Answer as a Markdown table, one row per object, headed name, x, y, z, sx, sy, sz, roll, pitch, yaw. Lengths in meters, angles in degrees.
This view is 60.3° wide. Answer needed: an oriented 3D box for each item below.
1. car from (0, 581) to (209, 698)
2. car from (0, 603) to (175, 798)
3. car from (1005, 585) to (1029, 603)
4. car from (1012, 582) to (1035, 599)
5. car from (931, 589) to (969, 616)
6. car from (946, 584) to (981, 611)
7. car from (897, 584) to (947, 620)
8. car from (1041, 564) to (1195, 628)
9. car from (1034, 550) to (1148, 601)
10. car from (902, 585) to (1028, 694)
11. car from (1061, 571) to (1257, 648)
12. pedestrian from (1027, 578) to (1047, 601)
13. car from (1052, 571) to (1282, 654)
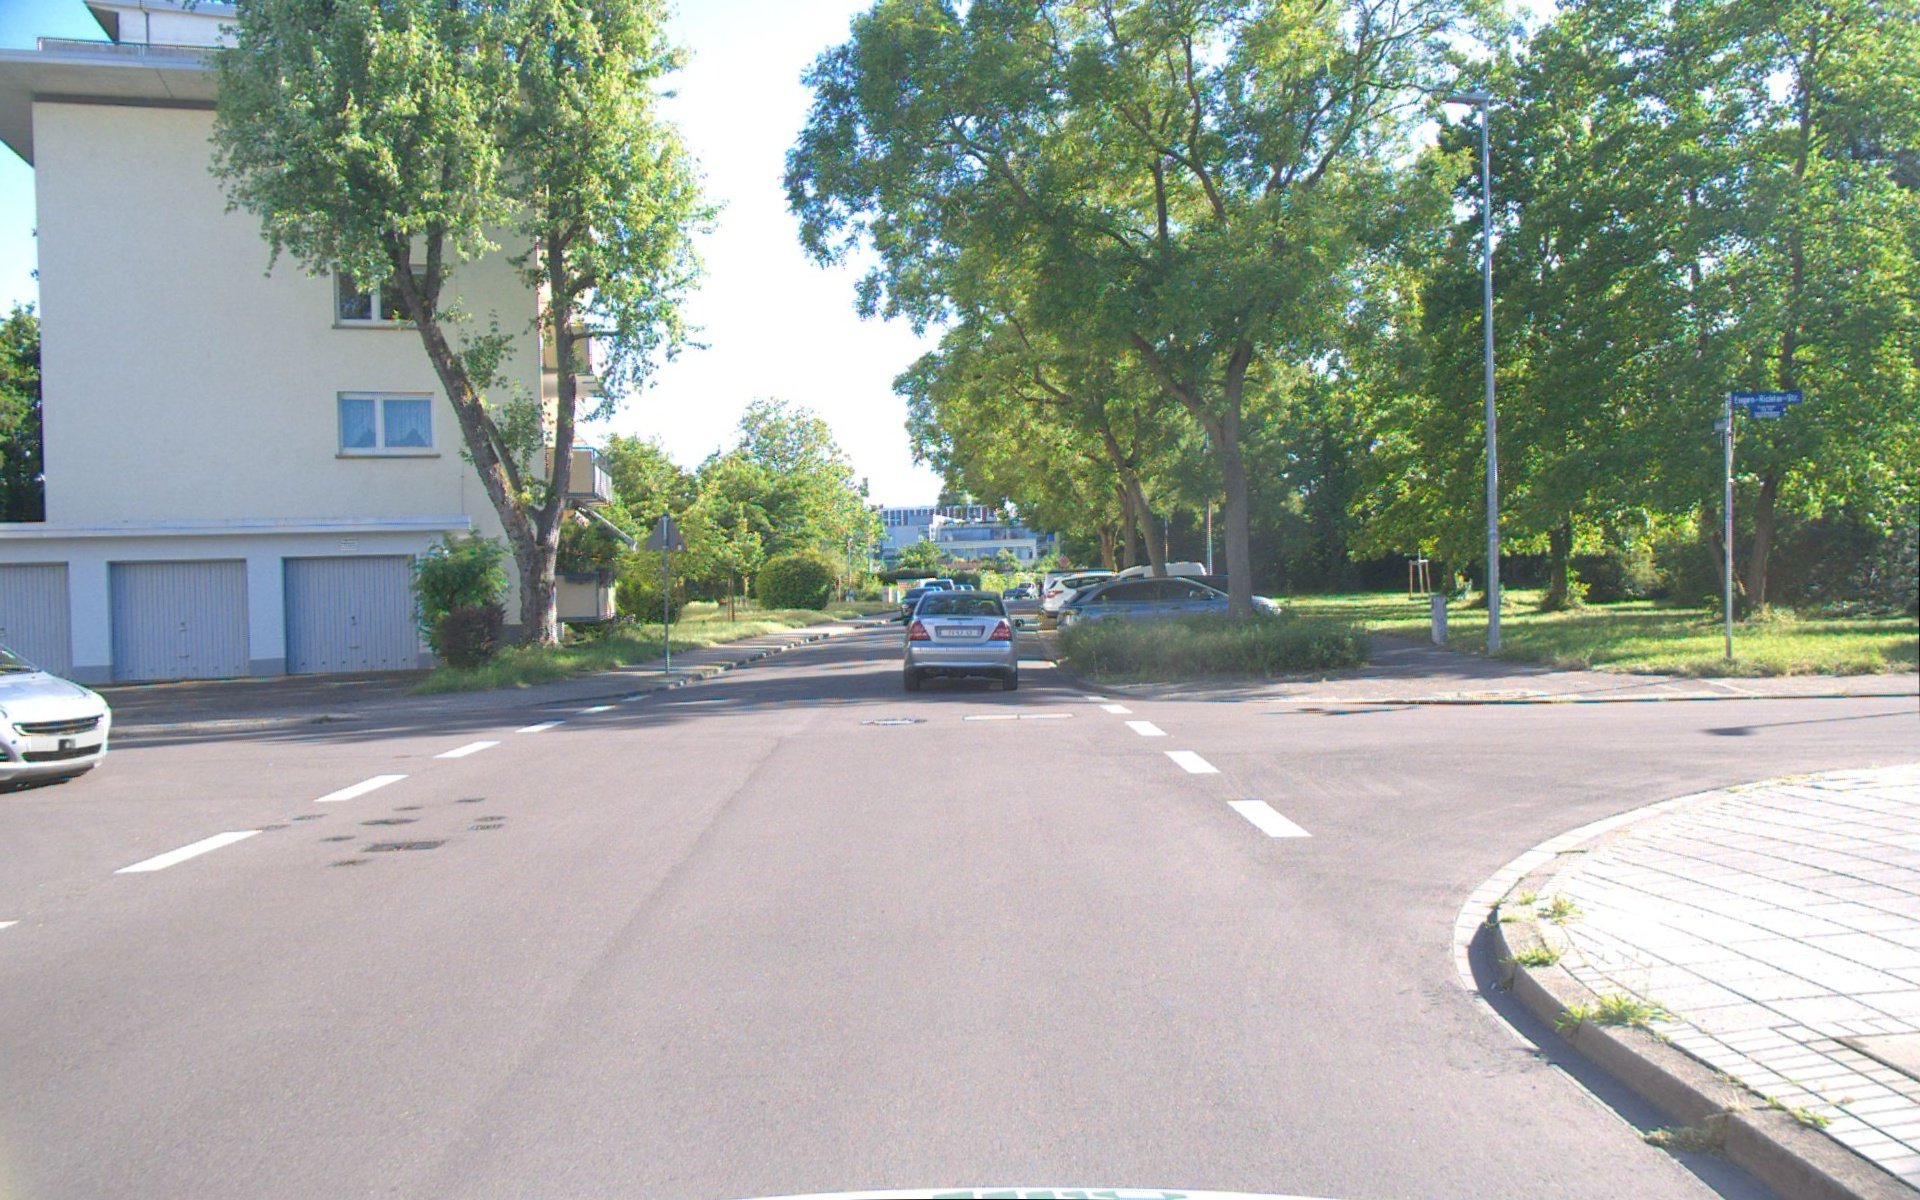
| name | x | y | z | sx | sy | sz | roll | pitch | yaw |
| --- | --- | --- | --- | --- | --- | --- | --- | --- | --- |
| car | -16.916 | 0.749 | 30.870 | 4.790 | 1.957 | 1.998 | -3 | 1 | -5 |
| car | -9.067 | 0.834 | 14.247 | 3.846 | 1.486 | 1.999 | -1 | 0 | 19 |
| car | 5.305 | -0.591 | 153.600 | 1.853 | 1.529 | 3.660 | -2 | 1 | 8 |
| car | 6.229 | -0.920 | 161.845 | 1.853 | 1.529 | 3.660 | -2 | 1 | 8 |
| car | -0.564 | 0.131 | 97.107 | 1.713 | 1.352 | 3.453 | -5 | 0 | 7 |
| car | 0.240 | -0.184 | 103.644 | 1.713 | 1.547 | 4.196 | -3 | 0 | 6 |
| car | -1.782 | 0.066 | 78.492 | 1.873 | 1.516 | 3.839 | -5 | 0 | 5 |
| car | 5.038 | -0.143 | 53.372 | 4.783 | 1.753 | 2.001 | -3 | 1 | 2 |
| car | 6.009 | -1.116 | 75.952 | 5.108 | 2.095 | 2.001 | -2 | 0 | 4 |
| car | 0.005 | 0.552 | 24.511 | 1.698 | 1.459 | 3.436 | -1 | 0 | -2 |
| car | 4.554 | 0.206 | 38.320 | 4.335 | 1.598 | 1.738 | -2 | 1 | 2 |
| pedestrian | 7.166 | -0.982 | 153.582 | 1.540 | 2.125 | 1.725 | -2 | 0 | 11 |
| car | 4.424 | 0.251 | 35.841 | 4.685 | 1.576 | 2.011 | -2 | 1 | -1 |
